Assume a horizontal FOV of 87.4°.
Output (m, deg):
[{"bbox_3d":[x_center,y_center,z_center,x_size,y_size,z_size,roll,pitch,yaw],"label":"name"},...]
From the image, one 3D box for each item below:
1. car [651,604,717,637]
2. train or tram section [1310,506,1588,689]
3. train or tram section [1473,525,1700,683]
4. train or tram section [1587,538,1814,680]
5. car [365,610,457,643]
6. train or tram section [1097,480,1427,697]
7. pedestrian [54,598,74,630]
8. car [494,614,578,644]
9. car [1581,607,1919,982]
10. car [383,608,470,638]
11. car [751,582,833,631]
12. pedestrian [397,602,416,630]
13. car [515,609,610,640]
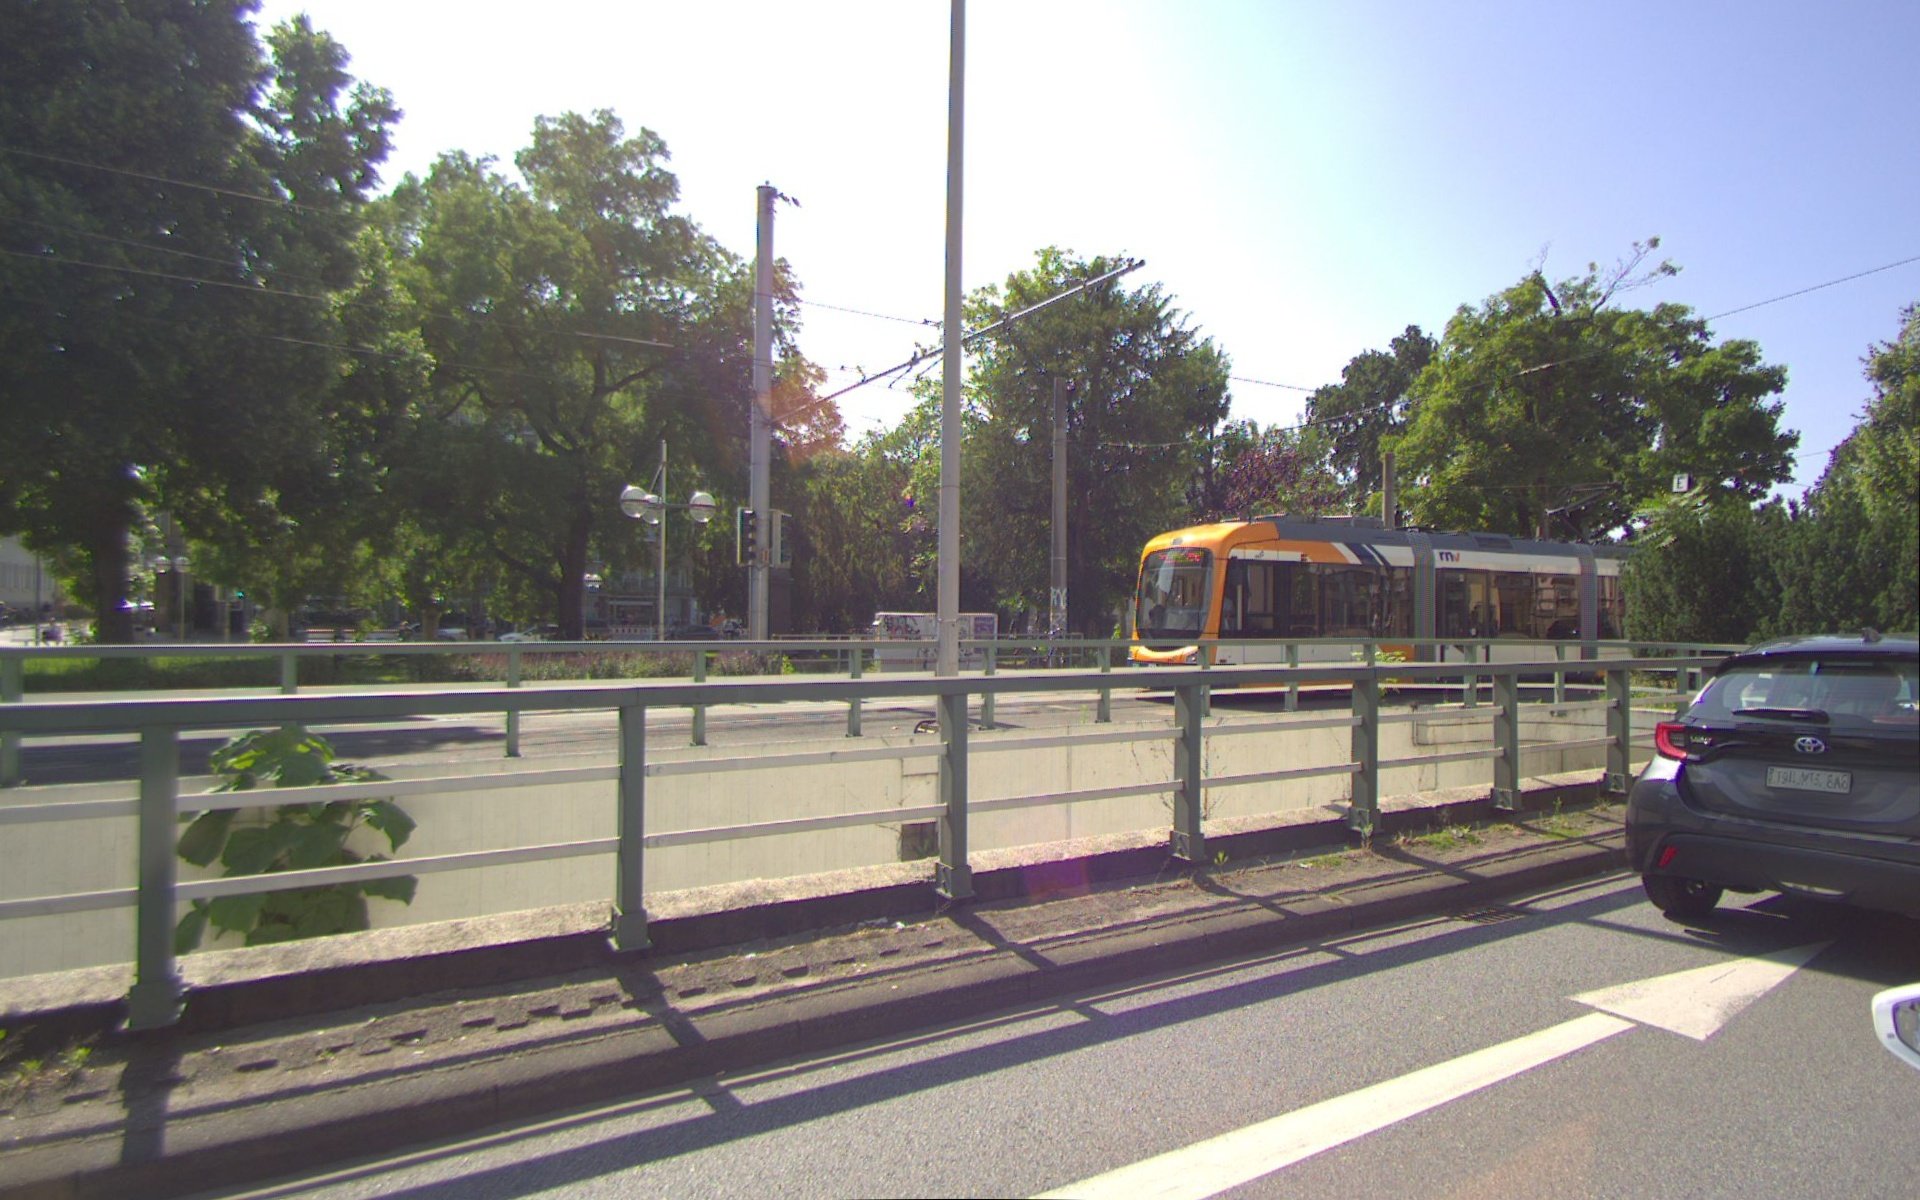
[{"bbox_3d":[-17.365,1.289,63.166,3.601,2.040,1.984,1,-1,-30],"label":"car"},{"bbox_3d":[11.034,-0.020,22.574,6.032,3.629,2.600,2,1,-30],"label":"train or tram section"},{"bbox_3d":[15.885,0.115,25.444,5.294,3.629,2.600,1,1,-30],"label":"train or tram section"},{"bbox_3d":[21.080,0.261,28.524,6.817,3.629,2.600,2,1,-30],"label":"train or tram section"},{"bbox_3d":[-28.172,1.352,51.590,3.961,1.528,1.743,1,1,-36],"label":"car"},{"bbox_3d":[5.907,-0.162,19.440,6.032,3.629,2.601,2,1,-30],"label":"train or tram section"},{"bbox_3d":[-36.278,0.574,40.660,0.569,1.280,0.526,-2,-2,39],"label":"pedestrian"},{"bbox_3d":[-23.276,1.578,55.211,3.961,1.528,1.743,1,1,-36],"label":"car"},{"bbox_3d":[5.330,0.833,5.398,3.953,1.494,1.769,2,-2,-30],"label":"car"},{"bbox_3d":[-28.799,1.240,54.264,3.961,1.528,1.743,1,1,-36],"label":"car"},{"bbox_3d":[-12.163,0.513,72.705,5.357,3.361,2.116,1,1,-31],"label":"car"},{"bbox_3d":[-26.425,0.774,47.930,0.655,1.280,0.744,1,-3,-42],"label":"pedestrian"},{"bbox_3d":[-22.969,1.424,58.142,4.797,1.685,1.743,1,1,-36],"label":"car"}]
